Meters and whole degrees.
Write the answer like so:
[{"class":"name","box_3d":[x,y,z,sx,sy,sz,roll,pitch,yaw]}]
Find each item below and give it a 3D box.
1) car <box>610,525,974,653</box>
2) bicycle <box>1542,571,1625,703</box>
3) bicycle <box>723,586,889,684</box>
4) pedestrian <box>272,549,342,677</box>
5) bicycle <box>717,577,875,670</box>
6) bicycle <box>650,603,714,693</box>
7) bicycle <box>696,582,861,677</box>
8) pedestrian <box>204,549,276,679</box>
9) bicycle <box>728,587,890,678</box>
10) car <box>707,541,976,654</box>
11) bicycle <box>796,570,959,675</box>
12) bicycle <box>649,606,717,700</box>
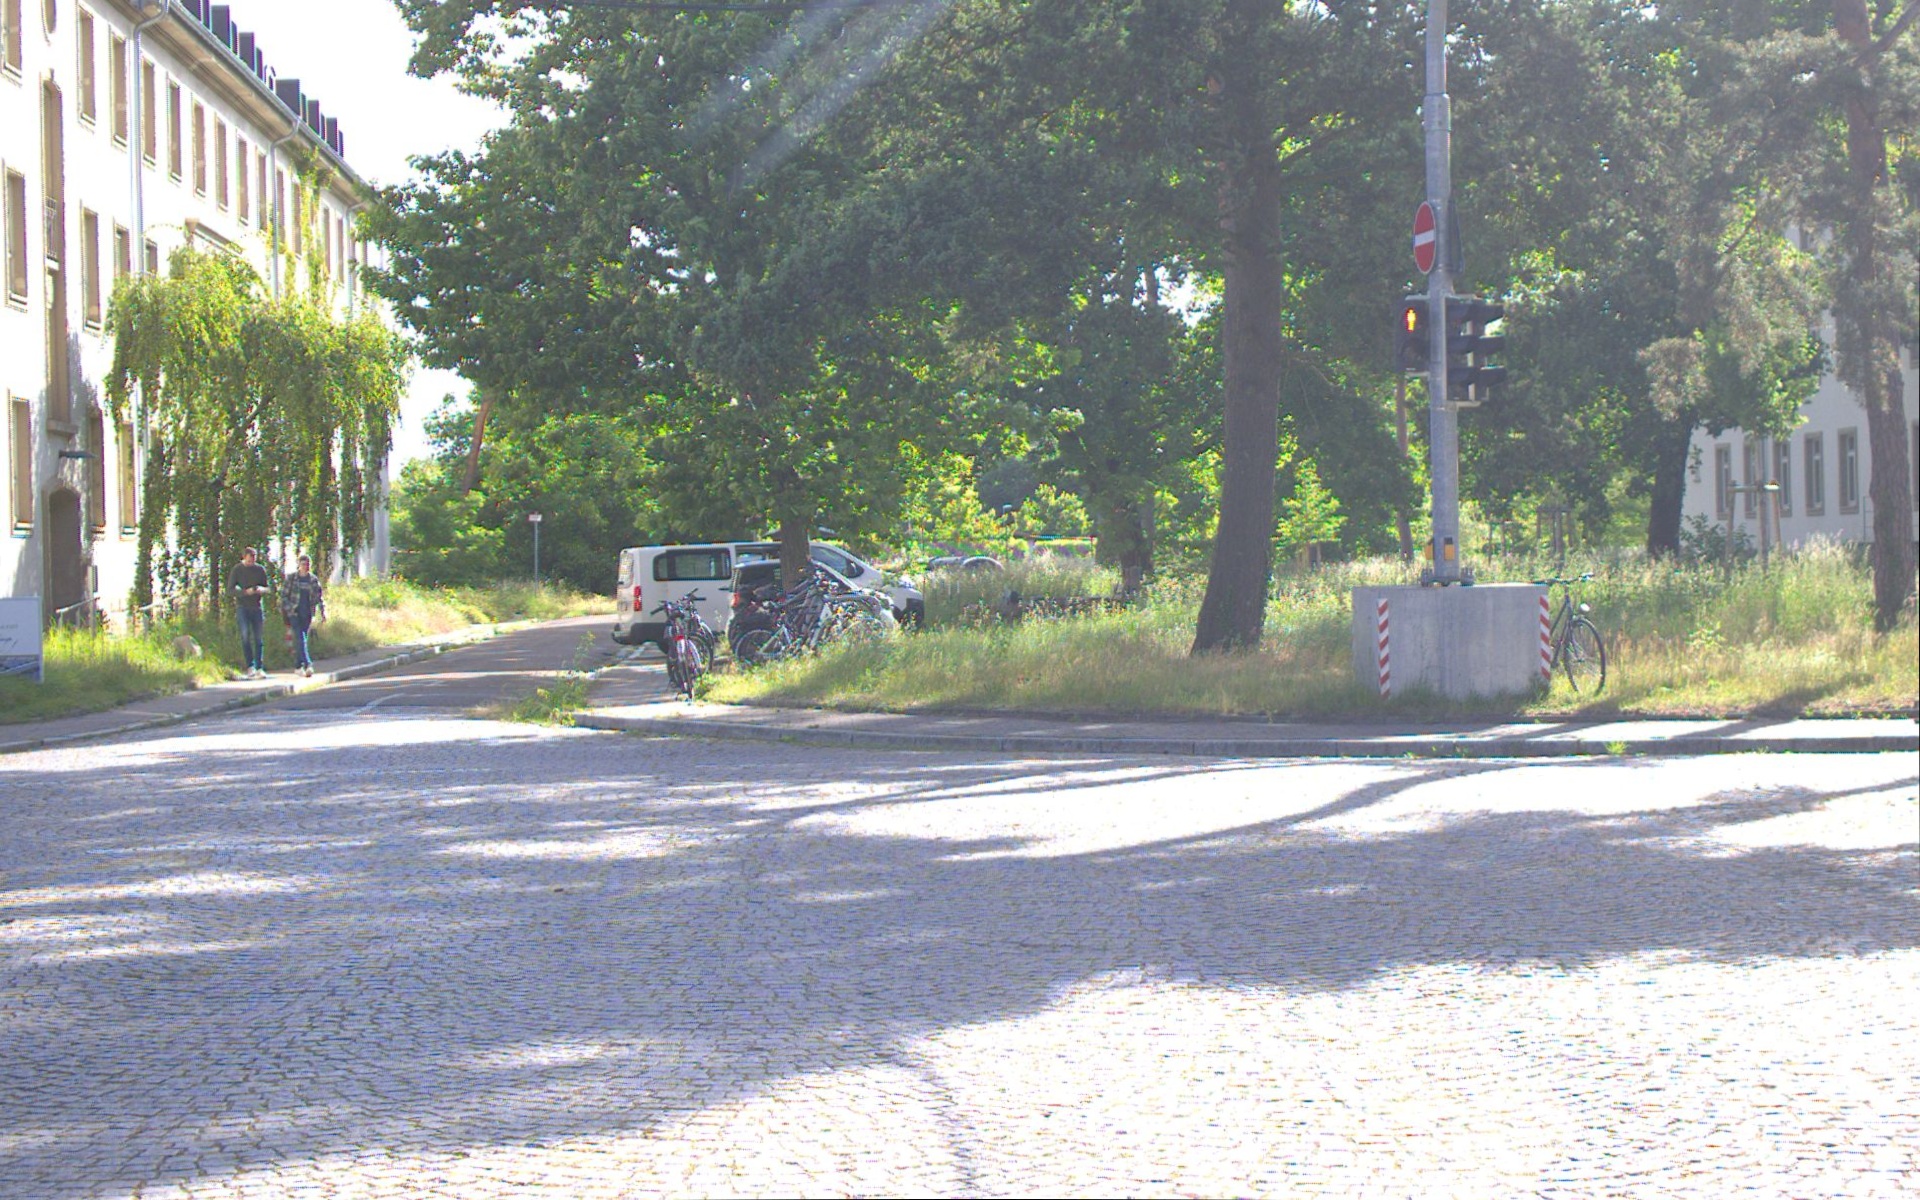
[{"class":"car","box_3d":[-2.912,-0.207,58.799,5.929,2.007,2.476,-1,1,-10]},{"class":"bicycle","box_3d":[5.238,0.305,28.900,0.466,1.076,1.174,-1,0,0]},{"class":"bicycle","box_3d":[-1.864,0.410,41.508,1.940,1.125,0.750,-1,1,-6]},{"class":"pedestrian","box_3d":[-9.364,0.179,49.328,0.767,1.811,0.682,-1,1,8]},{"class":"bicycle","box_3d":[-2.094,0.296,43.811,1.940,1.125,0.648,-1,1,-8]},{"class":"bicycle","box_3d":[-3.174,0.533,39.103,0.695,0.968,1.861,-1,1,-5]},{"class":"bicycle","box_3d":[-2.247,0.357,42.708,1.941,1.125,0.648,-2,1,-30]},{"class":"pedestrian","box_3d":[-10.215,0.195,48.783,0.812,1.811,0.555,-1,1,8]},{"class":"bicycle","box_3d":[-1.793,0.376,40.715,1.854,1.027,0.750,-1,1,-6]},{"class":"car","box_3d":[-1.901,-0.058,54.461,3.986,1.678,1.848,-1,1,-11]},{"class":"bicycle","box_3d":[-1.016,0.273,42.250,1.940,1.231,0.485,-1,1,-6]},{"class":"bicycle","box_3d":[-3.004,0.560,37.177,0.695,0.968,1.861,-1,1,-5]}]
